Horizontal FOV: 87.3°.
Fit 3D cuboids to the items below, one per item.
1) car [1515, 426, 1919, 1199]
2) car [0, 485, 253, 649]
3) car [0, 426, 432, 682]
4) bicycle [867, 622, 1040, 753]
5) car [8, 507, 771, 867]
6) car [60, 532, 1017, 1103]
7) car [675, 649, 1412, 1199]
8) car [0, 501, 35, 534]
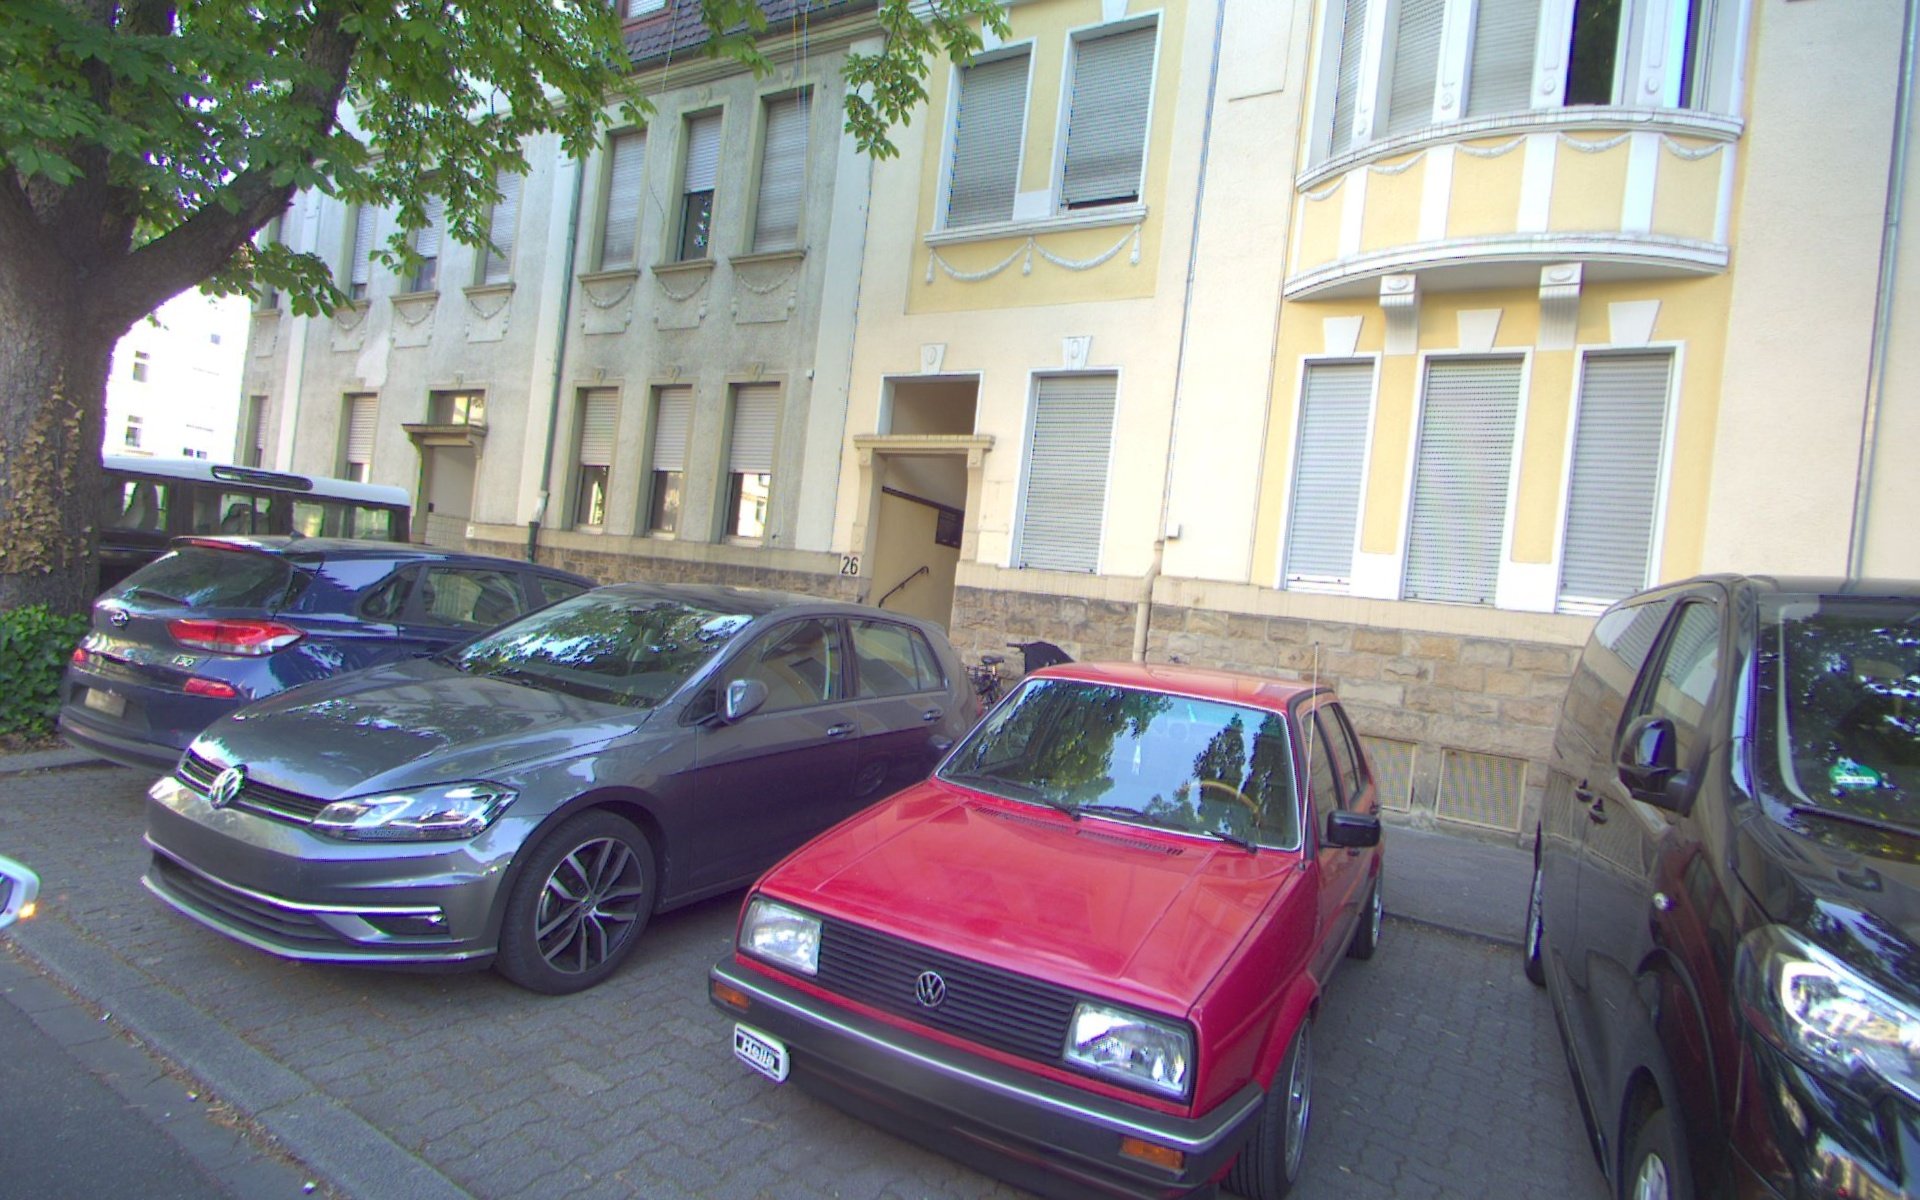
[{"bbox_3d":[2.883,0.900,2.949,1.848,1.847,4.829,6,0,27],"label":"car"},{"bbox_3d":[-10.002,-0.391,10.788,1.680,1.606,3.488,7,0,25],"label":"car"},{"bbox_3d":[-7.616,-0.381,9.314,1.762,1.981,4.496,7,1,29],"label":"car"},{"bbox_3d":[-0.088,0.869,10.385,1.675,1.090,0.500,7,2,32],"label":"bicycle"},{"bbox_3d":[-3.052,0.417,6.212,1.600,1.440,3.754,6,0,29],"label":"car"},{"bbox_3d":[-1.372,0.649,4.831,1.600,1.440,4.054,6,0,29],"label":"car"},{"bbox_3d":[0.836,0.963,4.229,1.532,1.337,3.916,6,0,29],"label":"car"},{"bbox_3d":[-36.391,-3.246,36.849,1.357,1.081,3.370,7,-1,30],"label":"car"}]
